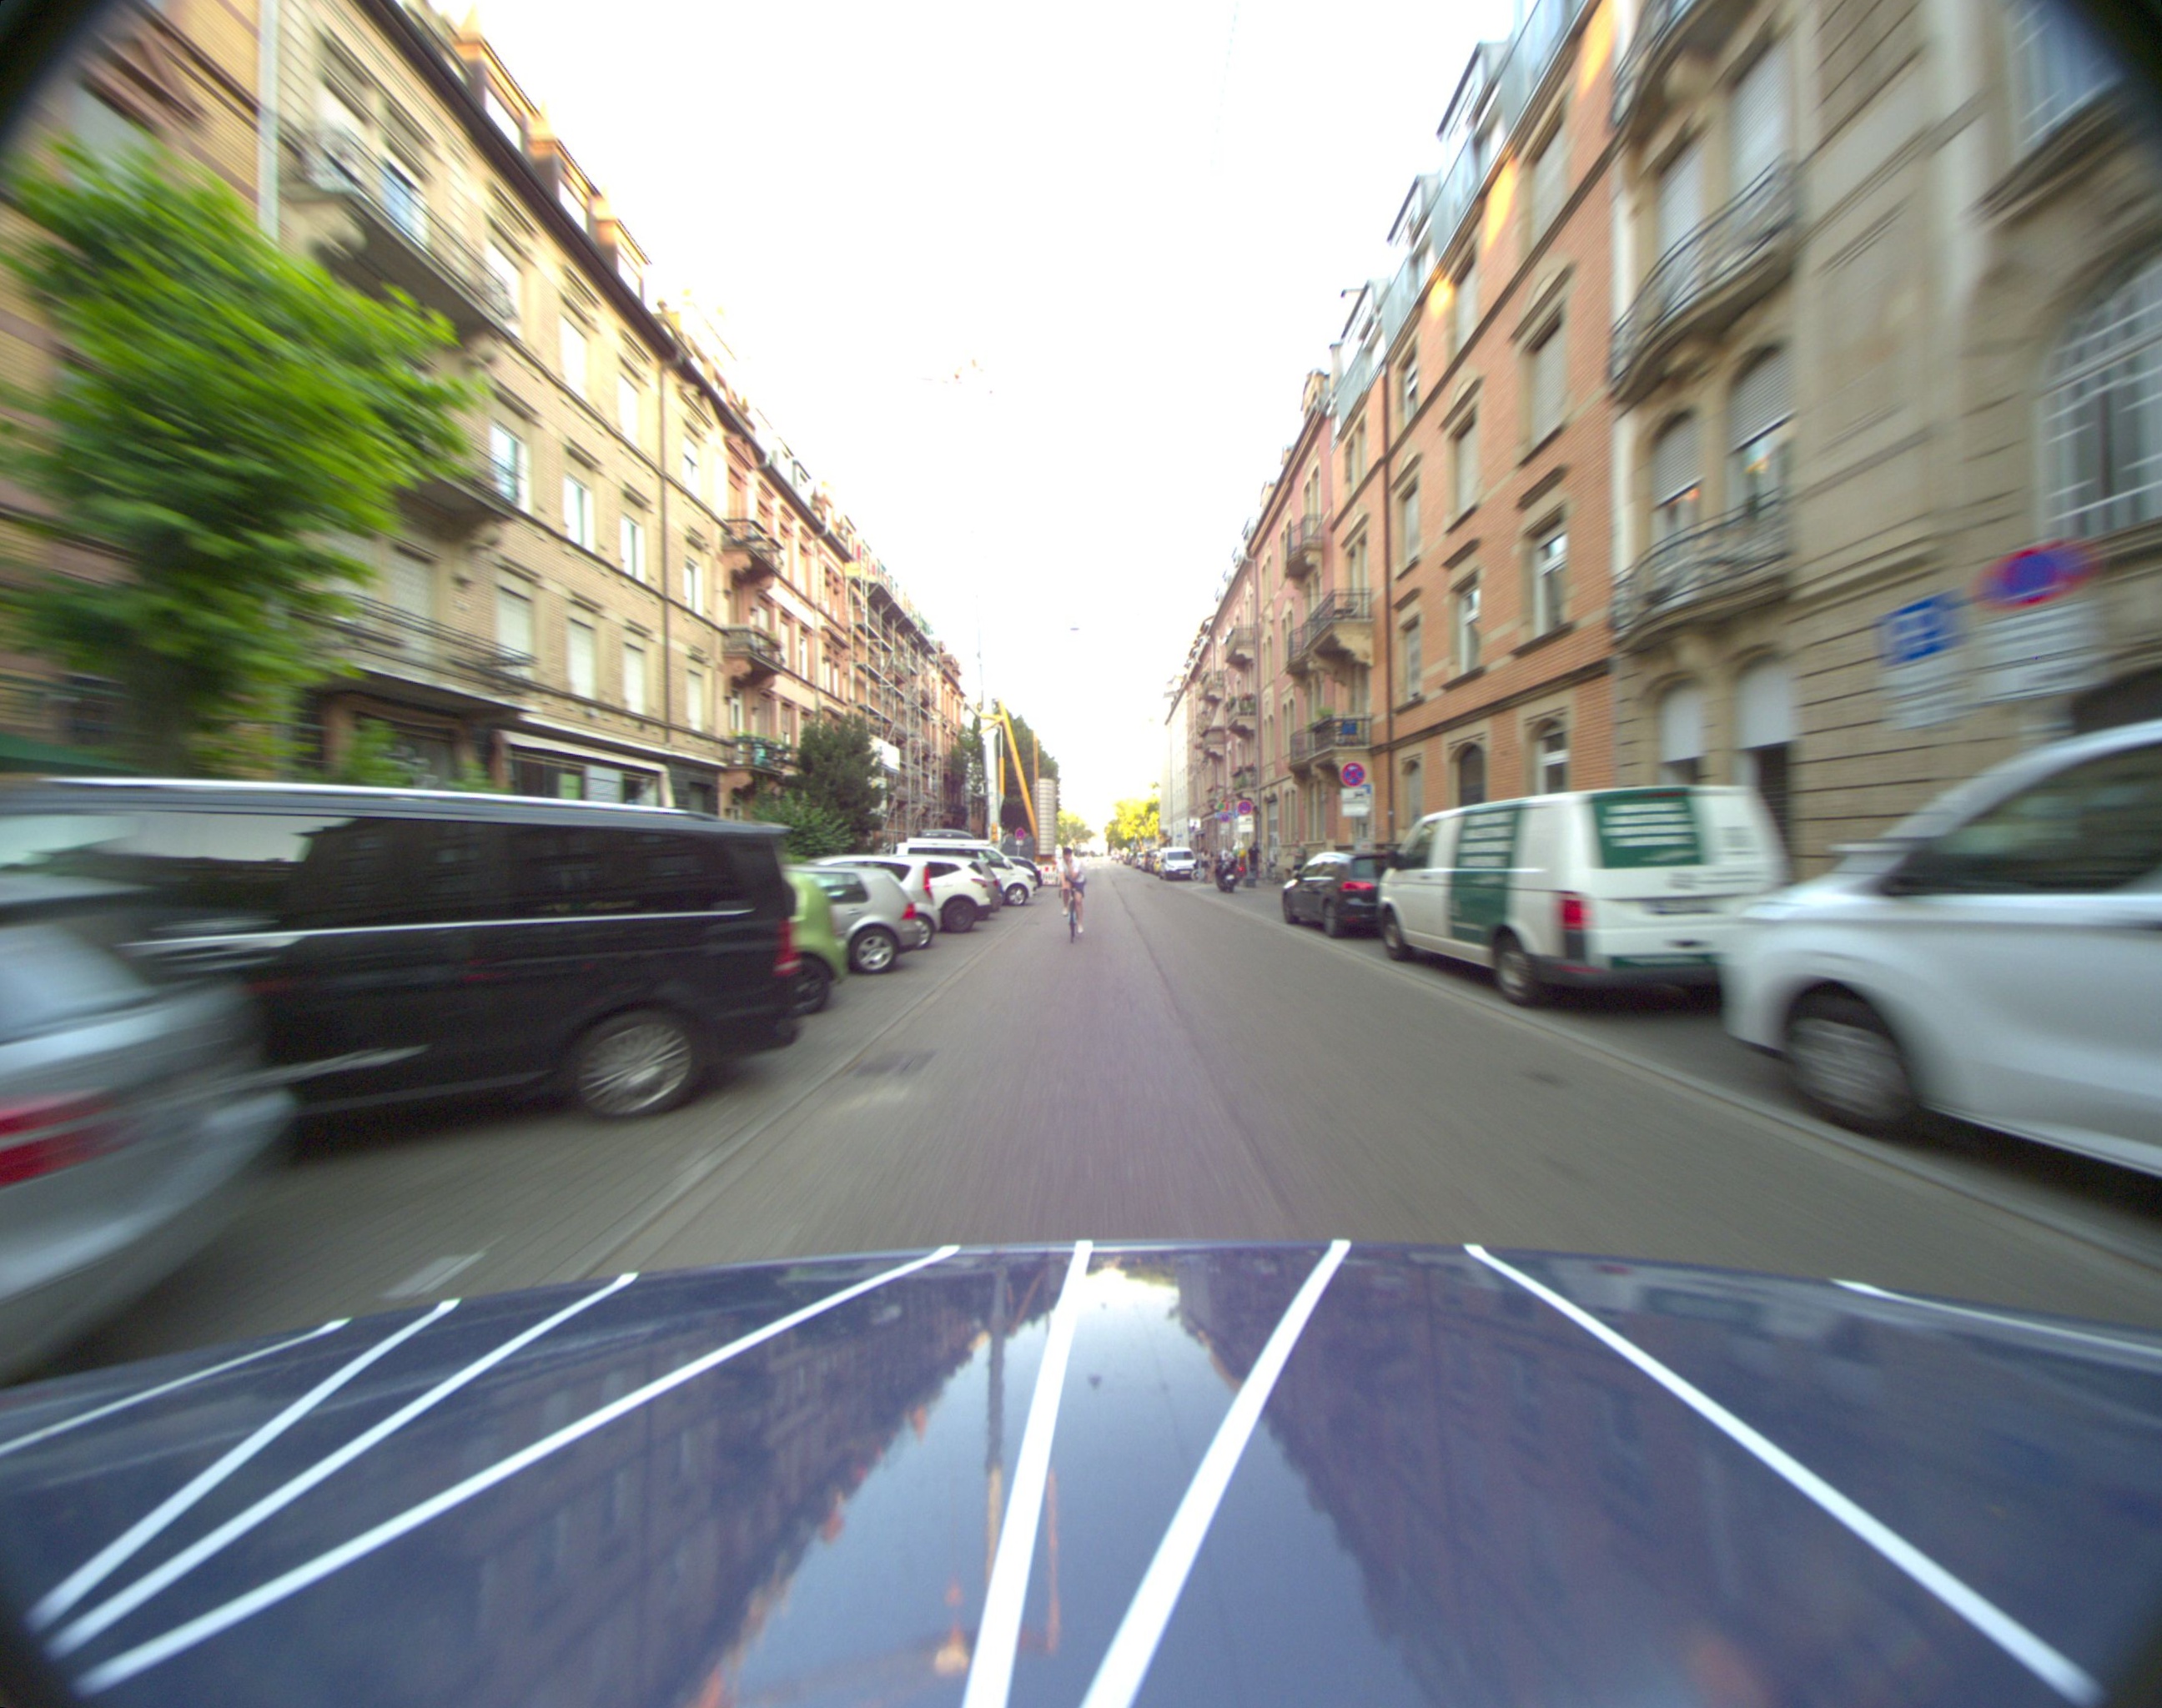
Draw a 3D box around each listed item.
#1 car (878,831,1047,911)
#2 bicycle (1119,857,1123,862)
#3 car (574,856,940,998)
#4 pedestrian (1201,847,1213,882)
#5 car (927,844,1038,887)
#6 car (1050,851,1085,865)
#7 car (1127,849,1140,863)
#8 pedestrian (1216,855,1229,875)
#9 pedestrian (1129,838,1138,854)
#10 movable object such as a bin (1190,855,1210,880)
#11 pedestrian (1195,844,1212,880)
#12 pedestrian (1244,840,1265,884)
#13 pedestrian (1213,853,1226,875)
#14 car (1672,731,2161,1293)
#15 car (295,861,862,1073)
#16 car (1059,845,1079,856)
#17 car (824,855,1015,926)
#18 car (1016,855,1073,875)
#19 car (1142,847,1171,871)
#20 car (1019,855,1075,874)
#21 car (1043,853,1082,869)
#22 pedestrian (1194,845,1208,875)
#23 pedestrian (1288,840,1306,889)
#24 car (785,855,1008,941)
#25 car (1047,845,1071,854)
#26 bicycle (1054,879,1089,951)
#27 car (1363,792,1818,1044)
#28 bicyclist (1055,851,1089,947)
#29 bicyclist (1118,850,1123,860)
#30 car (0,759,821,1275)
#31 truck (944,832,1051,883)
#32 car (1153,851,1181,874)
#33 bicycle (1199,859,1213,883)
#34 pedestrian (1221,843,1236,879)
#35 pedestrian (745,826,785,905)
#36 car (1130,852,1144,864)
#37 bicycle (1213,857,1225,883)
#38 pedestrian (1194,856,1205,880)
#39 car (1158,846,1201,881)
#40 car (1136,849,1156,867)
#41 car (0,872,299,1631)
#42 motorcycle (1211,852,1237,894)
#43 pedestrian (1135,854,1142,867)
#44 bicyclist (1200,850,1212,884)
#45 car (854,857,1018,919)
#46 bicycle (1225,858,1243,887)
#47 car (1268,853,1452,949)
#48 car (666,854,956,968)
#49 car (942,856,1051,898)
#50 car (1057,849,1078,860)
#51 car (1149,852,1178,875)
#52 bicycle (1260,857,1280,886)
[{"bbox_3d":[-3.764,0.482,24.153,4.945,2.348,1.996,0,0,-24],"label":"car"},{"bbox_3d":[6.791,0.926,129.462,0.477,0.938,1.896,-2,1,1],"label":"bicycle"},{"bbox_3d":[-4.176,0.859,10.108,4.116,1.542,1.814,2,0,-30],"label":"car"},{"bbox_3d":[6.058,0.502,36.486,0.419,1.699,0.350,-2,1,-3],"label":"pedestrian"},{"bbox_3d":[-4.839,0.578,37.789,5.185,1.944,1.899,1,-1,1],"label":"car"},{"bbox_3d":[-1.610,0.504,91.502,3.841,1.510,1.673,1,1,-31],"label":"car"},{"bbox_3d":[7.430,0.312,107.871,1.785,1.860,4.458,-2,1,3],"label":"car"},{"bbox_3d":[8.186,0.647,44.031,0.633,1.133,0.573,-2,1,0],"label":"pedestrian"},{"bbox_3d":[9.150,-1.356,133.198,1.445,2.725,1.012,-2,1,0],"label":"pedestrian"},{"bbox_3d":[6.182,0.722,39.597,0.889,1.244,0.776,-2,1,2],"label":"movable object such as a bin"},{"bbox_3d":[6.271,0.423,38.912,0.600,1.803,0.720,-3,1,-7],"label":"pedestrian"},{"bbox_3d":[7.370,0.322,32.360,0.683,1.800,0.961,-2,1,6],"label":"pedestrian"},{"bbox_3d":[8.162,0.604,44.867,0.620,1.244,0.585,-2,1,0],"label":"pedestrian"},{"bbox_3d":[4.718,0.518,2.195,2.114,1.910,5.025,-1,0,0],"label":"car"},{"bbox_3d":[-4.461,0.902,7.435,4.116,1.542,1.814,2,0,-30],"label":"car"},{"bbox_3d":[-2.644,-0.747,168.135,4.201,2.246,1.673,1,1,-34],"label":"car"},{"bbox_3d":[-3.930,0.869,18.621,4.174,1.581,1.881,2,-1,-29],"label":"car"},{"bbox_3d":[-2.773,0.870,57.979,4.003,1.479,1.680,1,0,-32],"label":"car"},{"bbox_3d":[6.185,0.390,62.383,1.932,1.872,4.905,-1,0,1],"label":"car"},{"bbox_3d":[-2.729,0.848,60.964,4.178,1.479,1.826,1,0,-34],"label":"car"},{"bbox_3d":[-1.951,0.766,80.924,3.841,1.556,1.674,1,1,-28],"label":"car"},{"bbox_3d":[7.005,0.373,44.325,0.619,1.720,0.586,-2,1,30],"label":"pedestrian"},{"bbox_3d":[7.971,0.370,28.014,0.464,1.779,0.642,-2,1,5],"label":"pedestrian"},{"bbox_3d":[-3.780,0.864,15.695,4.116,1.581,1.814,2,0,-29],"label":"car"},{"bbox_3d":[-3.913,-0.825,133.477,3.840,1.510,1.674,1,1,-27],"label":"car"},{"bbox_3d":[-0.148,1.086,14.026,0.520,1.148,1.783,-2,1,2],"label":"bicycle"},{"bbox_3d":[4.818,0.486,8.273,1.841,1.910,4.846,-1,0,2],"label":"car"},{"bbox_3d":[-0.161,0.799,13.981,0.528,1.694,0.789,-2,1,2],"label":"bicyclist"},{"bbox_3d":[6.727,0.239,129.376,0.624,1.682,1.003,-2,1,1],"label":"bicyclist"},{"bbox_3d":[-4.477,0.660,4.094,5.448,2.060,1.928,2,0,-36],"label":"car"},{"bbox_3d":[-5.392,0.205,49.959,6.494,3.059,2.525,-2,1,5],"label":"truck"},{"bbox_3d":[5.929,0.578,52.566,1.709,1.521,3.793,-1,0,3],"label":"car"},{"bbox_3d":[5.885,0.801,35.762,0.466,1.062,1.520,-2,1,5],"label":"bicycle"},{"bbox_3d":[7.538,0.373,38.777,0.598,1.803,0.721,-2,1,20],"label":"pedestrian"},{"bbox_3d":[-7.149,0.253,17.225,0.687,1.740,0.825,1,1,-12],"label":"pedestrian"},{"bbox_3d":[7.596,0.527,102.887,1.785,1.537,4.000,-2,1,3],"label":"car"},{"bbox_3d":[6.595,0.753,36.476,0.466,1.148,2.001,-2,1,9],"label":"bicycle"},{"bbox_3d":[6.177,0.722,39.661,0.479,1.244,0.652,-2,1,2],"label":"pedestrian"},{"bbox_3d":[5.436,0.483,42.424,1.775,1.778,4.586,-2,1,0],"label":"car"},{"bbox_3d":[6.571,0.379,76.964,1.730,1.638,3.917,-2,0,2],"label":"car"},{"bbox_3d":[-4.551,0.837,1.209,4.232,1.613,1.928,2,0,-32],"label":"car"},{"bbox_3d":[5.197,0.664,27.703,0.686,1.397,2.014,-2,1,4],"label":"motorcycle"},{"bbox_3d":[6.191,0.711,81.849,0.571,1.315,0.496,-2,1,1],"label":"pedestrian"},{"bbox_3d":[5.920,0.595,35.949,0.466,1.581,0.487,-2,1,5],"label":"bicyclist"},{"bbox_3d":[-4.051,0.877,21.290,4.172,1.581,1.882,0,0,-27],"label":"car"},{"bbox_3d":[6.473,0.762,32.208,0.412,1.153,1.838,-2,1,3],"label":"bicycle"},{"bbox_3d":[4.920,0.740,14.066,1.841,1.462,4.172,-1,0,0],"label":"car"},{"bbox_3d":[-4.347,0.849,12.499,4.117,1.581,1.813,2,-1,-36],"label":"car"},{"bbox_3d":[-3.311,0.855,29.702,3.872,1.507,1.844,0,0,-24],"label":"car"},{"bbox_3d":[-2.832,0.069,159.704,4.202,2.280,1.673,1,1,-38],"label":"car"},{"bbox_3d":[6.178,0.693,57.072,1.932,1.587,3.970,-1,0,3],"label":"car"},{"bbox_3d":[7.886,0.709,31.807,0.412,1.153,1.838,-2,1,3],"label":"bicycle"}]
